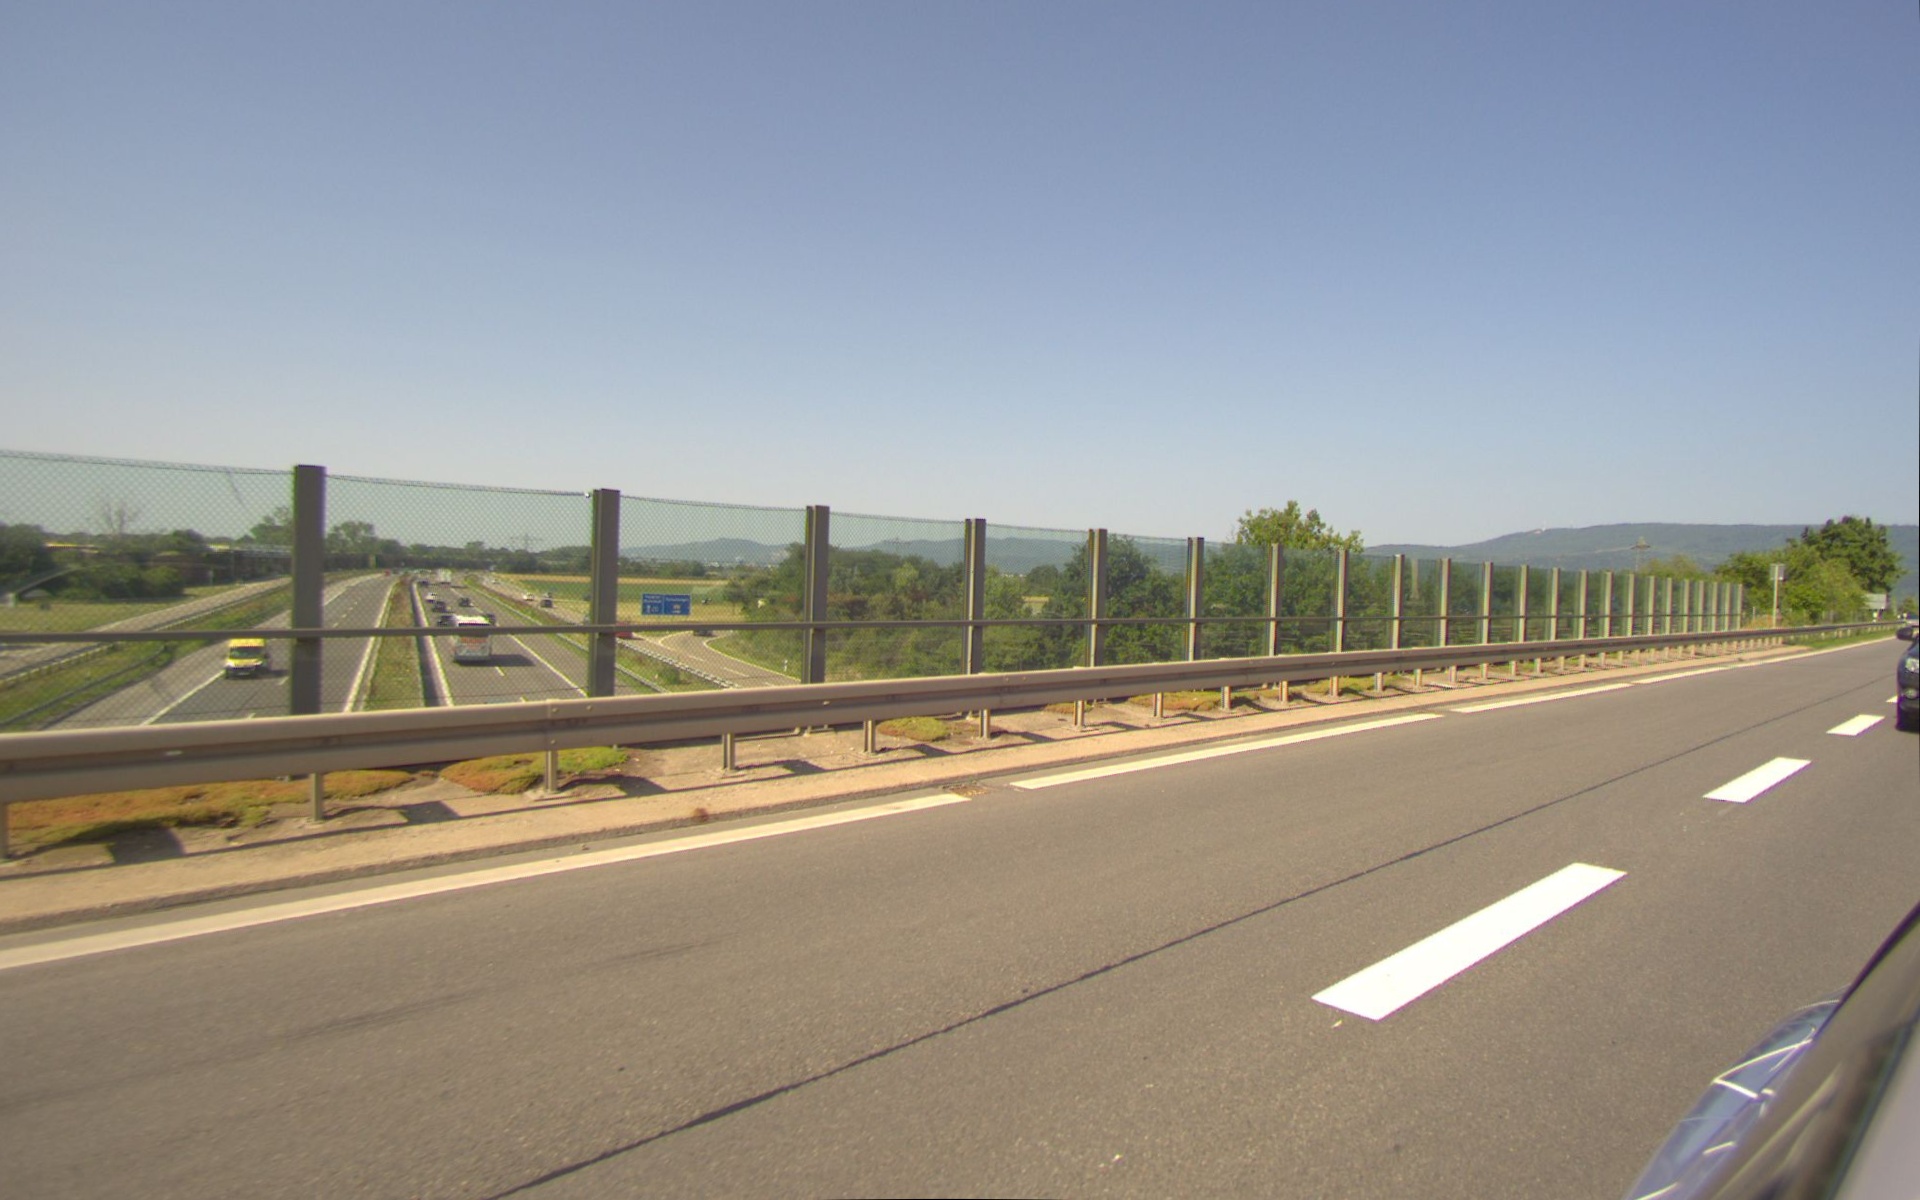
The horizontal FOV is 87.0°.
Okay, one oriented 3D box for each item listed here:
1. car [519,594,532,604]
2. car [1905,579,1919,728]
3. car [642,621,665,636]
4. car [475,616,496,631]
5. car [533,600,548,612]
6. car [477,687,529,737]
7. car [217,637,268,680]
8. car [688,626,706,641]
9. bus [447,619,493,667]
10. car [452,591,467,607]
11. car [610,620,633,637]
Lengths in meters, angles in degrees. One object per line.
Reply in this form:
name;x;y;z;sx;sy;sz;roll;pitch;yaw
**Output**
car;-87.699;-0.178;204.293;1.960;2.039;4.004;0;0;-30
car;12.816;0.628;12.111;4.075;1.667;1.788;1;0;-41
car;-36.857;3.397;121.589;1.814;1.705;4.004;0;0;-30
car;-54.173;2.661;115.549;1.850;1.672;4.004;1;0;-29
car;-73.824;1.058;178.015;1.960;2.039;4.004;0;0;-30
car;-21.063;5.084;46.557;1.841;1.787;4.004;1;0;-29
car;-45.462;3.655;64.188;2.093;2.373;4.994;1;0;-29
car;-32.764;4.108;126.186;1.813;1.705;4.007;0;0;-11
bus;-37.327;3.200;76.936;2.499;3.203;8.398;1;0;-30
car;-78.125;-0.134;157.876;1.841;2.388;4.723;1;0;-29
car;-37.371;3.108;111.601;1.841;1.787;4.006;1;0;-27
